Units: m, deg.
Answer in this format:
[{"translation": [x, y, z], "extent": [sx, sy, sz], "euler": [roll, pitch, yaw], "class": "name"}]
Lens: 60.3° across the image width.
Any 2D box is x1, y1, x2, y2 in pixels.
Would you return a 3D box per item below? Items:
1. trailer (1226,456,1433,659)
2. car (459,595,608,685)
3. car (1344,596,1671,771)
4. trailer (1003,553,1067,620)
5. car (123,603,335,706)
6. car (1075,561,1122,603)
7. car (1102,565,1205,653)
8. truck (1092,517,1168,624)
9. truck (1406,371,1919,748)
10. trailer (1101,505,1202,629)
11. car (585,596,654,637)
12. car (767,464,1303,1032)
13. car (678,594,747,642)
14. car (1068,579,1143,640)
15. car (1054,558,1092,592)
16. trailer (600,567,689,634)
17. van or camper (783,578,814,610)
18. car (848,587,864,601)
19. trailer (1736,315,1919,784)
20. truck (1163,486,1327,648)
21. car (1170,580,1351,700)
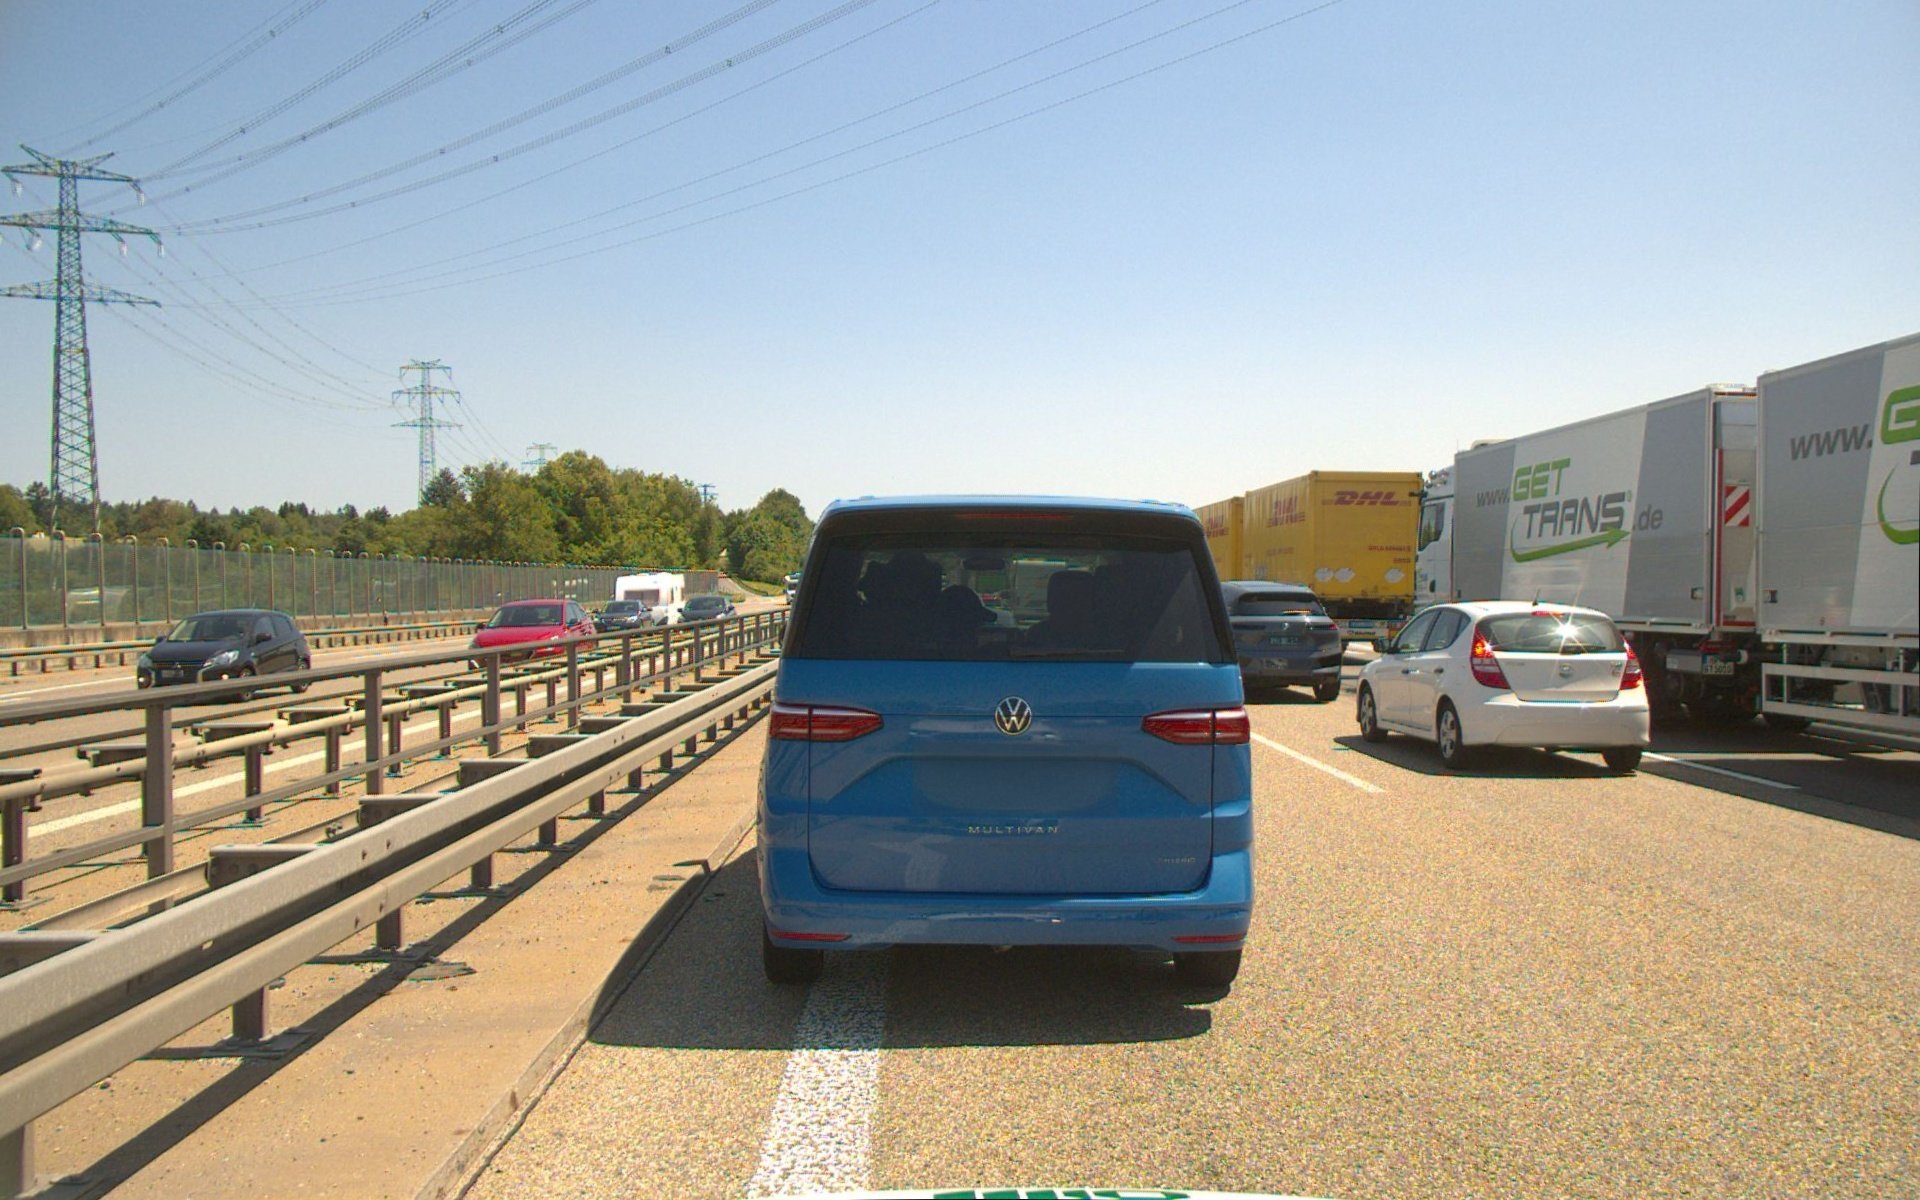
[{"translation": [8.658, -0.898, 40.006], "extent": [2.806, 4.313, 9.009], "euler": [1, 0, -1], "class": "trailer"}, {"translation": [-8.103, 0.726, 31.776], "extent": [1.755, 1.503, 3.988], "euler": [-4, 0, -1], "class": "car"}, {"translation": [5.190, 0.708, 16.306], "extent": [1.752, 1.481, 4.292], "euler": [0, 0, -1], "class": "car"}, {"translation": [3.582, -0.603, 81.416], "extent": [2.517, 3.042, 10.661], "euler": [1, 0, -1], "class": "trailer"}, {"translation": [-12.357, 0.861, 28.275], "extent": [1.695, 1.517, 4.418], "euler": [-2, 0, -1], "class": "car"}, {"translation": [7.037, -0.908, 84.298], "extent": [1.953, 2.049, 3.999], "euler": [1, 0, -1], "class": "car"}, {"translation": [4.617, 0.198, 40.040], "extent": [1.922, 2.028, 4.292], "euler": [0, 0, -1], "class": "car"}, {"translation": [7.593, -1.274, 74.760], "extent": [2.613, 4.562, 6.848], "euler": [1, 0, -1], "class": "truck"}, {"translation": [8.783, -0.437, 21.852], "extent": [2.603, 3.711, 11.008], "euler": [0, 0, -1], "class": "truck"}, {"translation": [7.647, -1.263, 67.554], "extent": [2.583, 4.595, 11.299], "euler": [1, 0, -1], "class": "trailer"}, {"translation": [-13.145, 0.616, 64.085], "extent": [1.739, 1.432, 4.681], "euler": [-2, 0, -1], "class": "car"}, {"translation": [0.233, 0.498, 7.615], "extent": [1.783, 1.890, 4.074], "euler": [1, 0, -1], "class": "car"}, {"translation": [-8.337, 0.575, 56.030], "extent": [1.634, 1.473, 4.000], "euler": [-3, 0, 0], "class": "car"}, {"translation": [4.535, 0.275, 52.148], "extent": [1.953, 1.847, 3.999], "euler": [0, 0, -1], "class": "car"}, {"translation": [6.917, -1.516, 101.318], "extent": [1.953, 2.049, 4.460], "euler": [-1, 0, -1], "class": "car"}, {"translation": [-13.223, -0.002, 69.826], "extent": [2.442, 2.593, 6.773], "euler": [-2, 0, -1], "class": "trailer"}, {"translation": [-16.071, -0.624, 164.574], "extent": [2.373, 3.076, 7.025], "euler": [-2, 0, -1], "class": "van or camper"}, {"translation": [-13.429, -0.744, 213.201], "extent": [1.829, 1.729, 4.429], "euler": [-2, 1, -2], "class": "car"}, {"translation": [9.049, -0.396, 12.314], "extent": [2.643, 3.765, 8.013], "euler": [0, 0, -1], "class": "trailer"}, {"translation": [8.360, -0.907, 50.065], "extent": [2.778, 4.317, 11.007], "euler": [1, 0, -1], "class": "truck"}, {"translation": [4.477, 0.552, 25.247], "extent": [1.922, 1.673, 4.292], "euler": [0, 0, -1], "class": "car"}]
